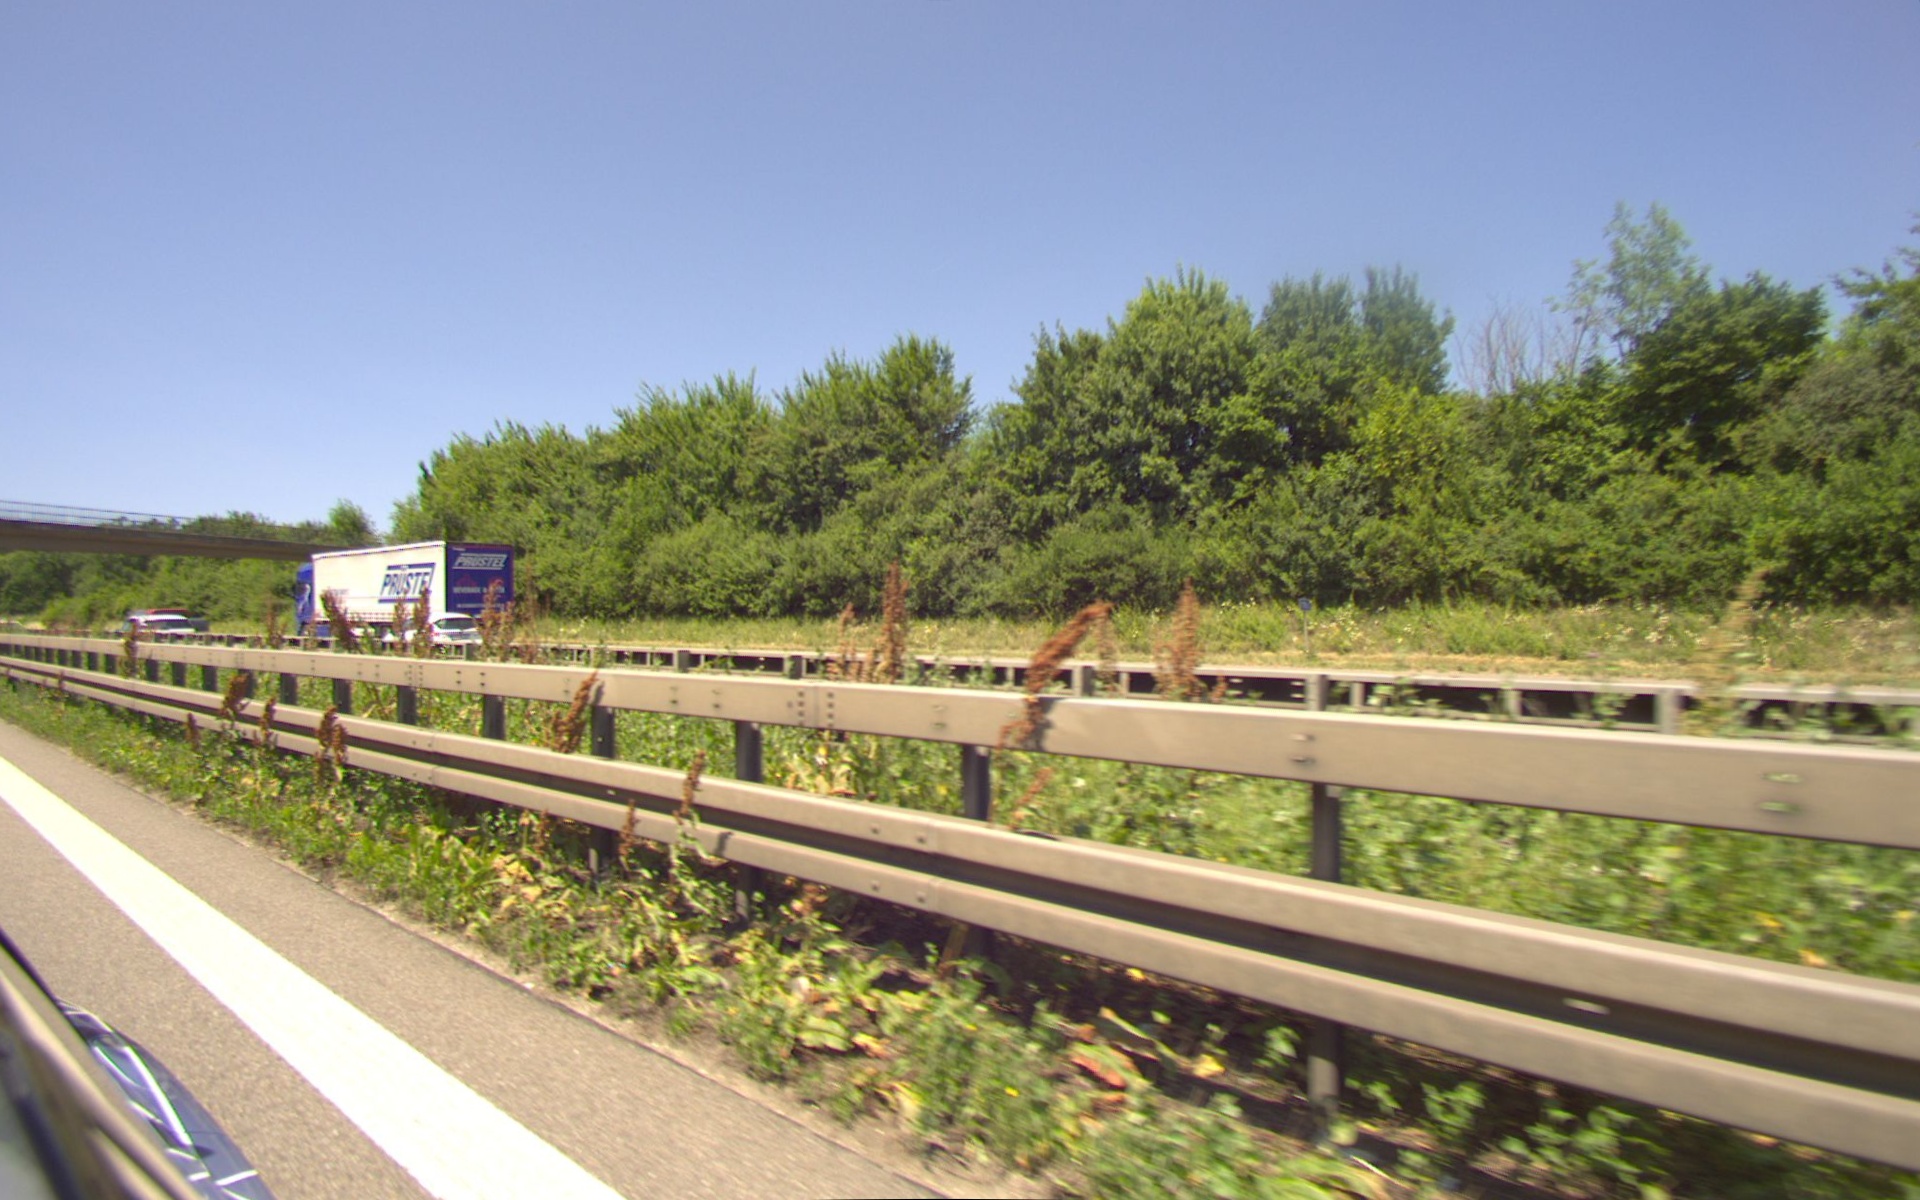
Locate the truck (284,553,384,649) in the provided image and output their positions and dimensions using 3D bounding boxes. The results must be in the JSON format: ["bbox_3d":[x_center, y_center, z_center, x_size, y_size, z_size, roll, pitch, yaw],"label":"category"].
[{"bbox_3d":[-28.856,0.128,46.577,5.080,4.150,2.467,-3,-2,41],"label":"truck"}]

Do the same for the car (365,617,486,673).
[{"bbox_3d":[-15.329,1.259,28.946,4.354,1.474,1.565,-2,-1,41],"label":"car"}]

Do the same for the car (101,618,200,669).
[{"bbox_3d":[-27.208,1.467,33.967,4.386,1.566,1.660,-3,-1,39],"label":"car"}]

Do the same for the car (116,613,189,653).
[{"bbox_3d":[-40.731,1.629,51.004,5.821,1.895,1.841,-1,0,41],"label":"car"}]

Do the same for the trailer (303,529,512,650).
[{"bbox_3d":[-23.319,-0.171,41.990,14.666,4.286,2.607,-3,-1,41],"label":"trailer"}]
